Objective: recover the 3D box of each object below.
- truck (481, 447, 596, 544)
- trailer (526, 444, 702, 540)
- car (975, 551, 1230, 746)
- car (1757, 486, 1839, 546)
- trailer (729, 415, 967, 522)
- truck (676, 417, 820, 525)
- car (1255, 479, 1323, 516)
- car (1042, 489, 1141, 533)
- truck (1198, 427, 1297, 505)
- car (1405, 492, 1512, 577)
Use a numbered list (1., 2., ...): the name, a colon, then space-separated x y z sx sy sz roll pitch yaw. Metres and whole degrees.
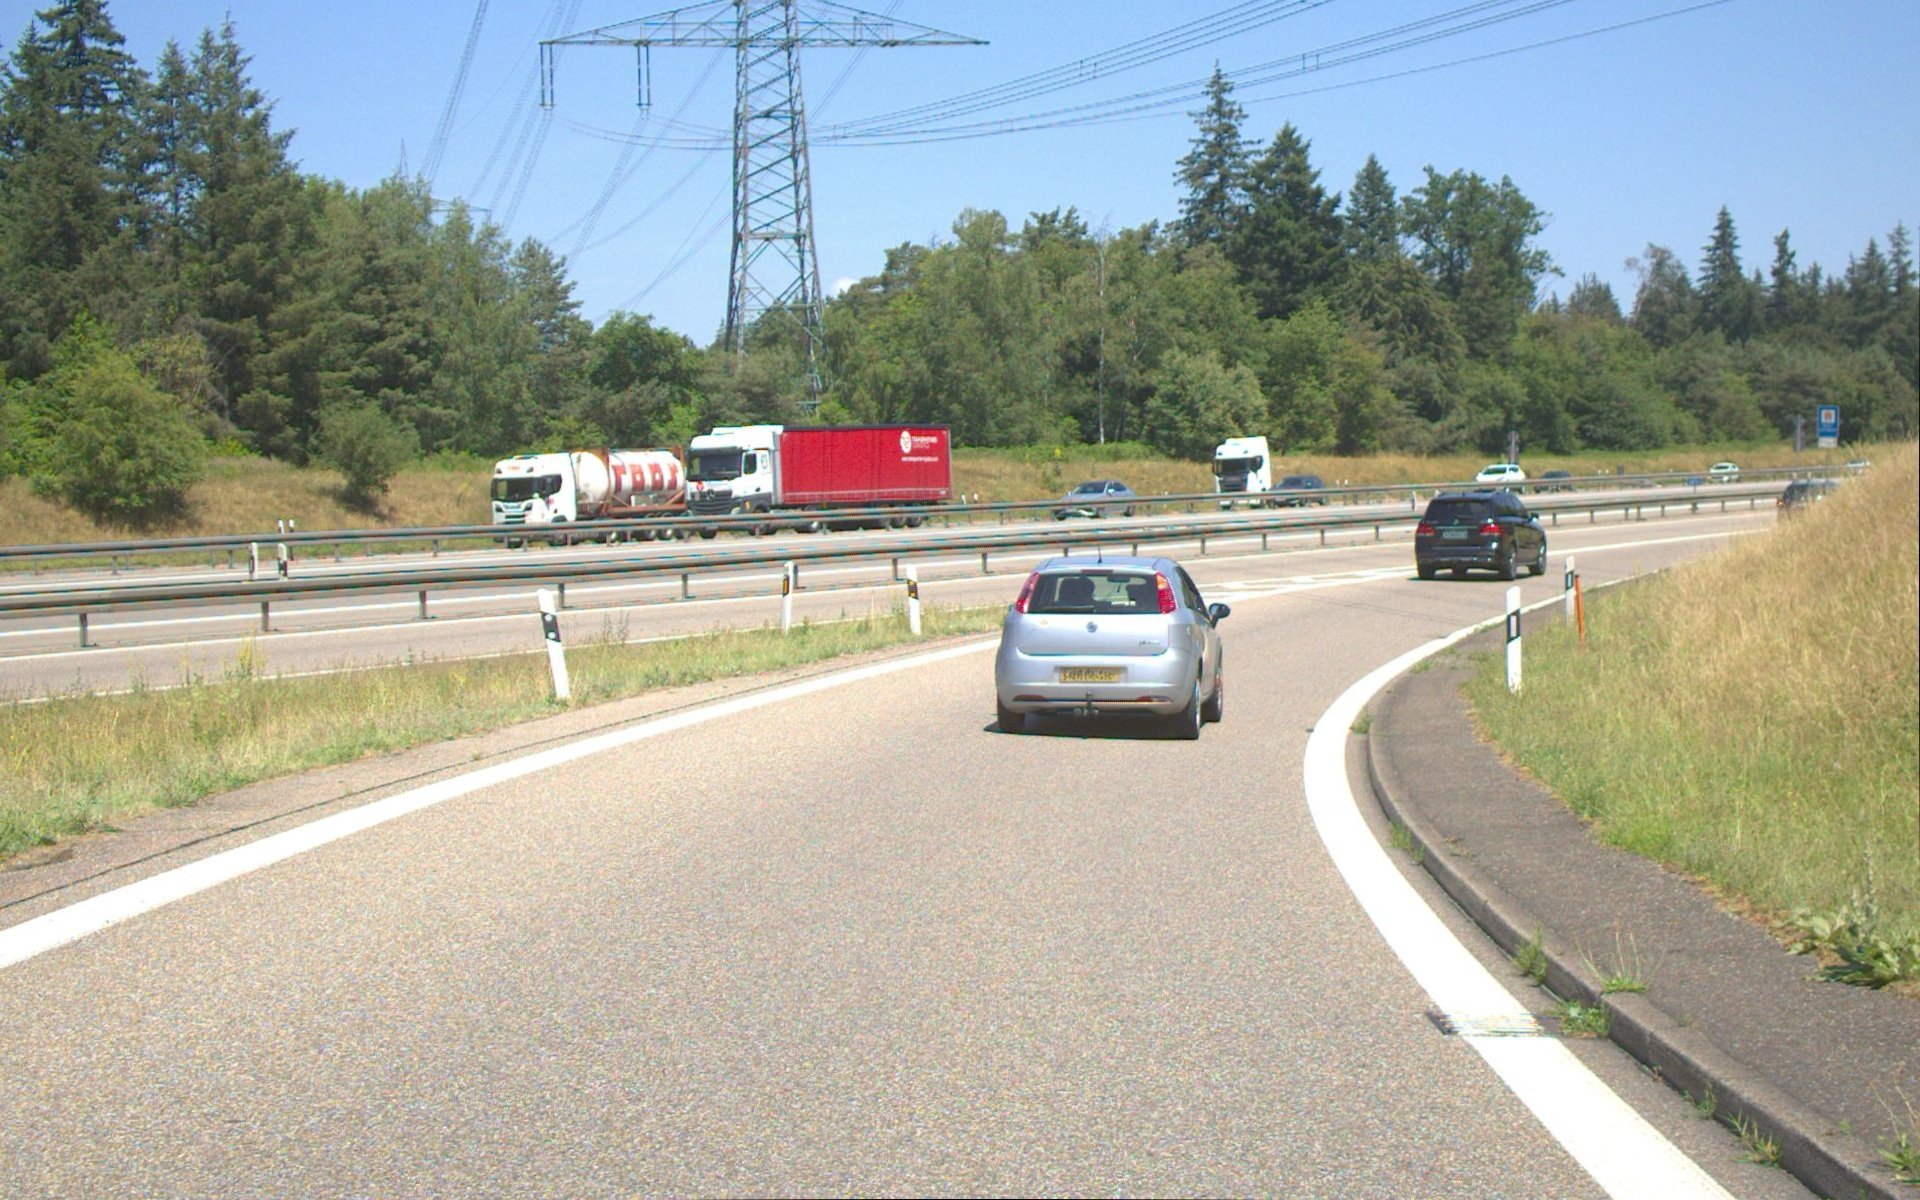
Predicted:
1. truck: -17.133 -4.271 139.983 2.772 3.784 3.994 0 3 28
2. trailer: -14.480 -4.590 144.901 2.776 3.784 8.924 0 3 28
3. car: 1.268 0.362 29.183 1.707 1.476 3.396 2 1 10
4. car: 25.498 -2.566 104.487 1.883 1.678 3.996 -3 1 20
5. trailer: -4.116 -5.163 132.346 2.545 3.784 13.721 0 3 28
6. truck: -7.710 -4.752 125.704 2.545 3.784 5.660 0 3 28
7. car: 15.350 -4.760 160.279 1.775 1.678 3.684 1 1 30
8. car: 5.115 -3.460 133.414 1.775 1.678 4.817 1 1 30
9. truck: 16.474 -7.612 196.687 2.864 4.330 7.519 1 1 29
10. car: 10.119 -1.332 69.609 1.707 1.670 3.395 0 1 16
